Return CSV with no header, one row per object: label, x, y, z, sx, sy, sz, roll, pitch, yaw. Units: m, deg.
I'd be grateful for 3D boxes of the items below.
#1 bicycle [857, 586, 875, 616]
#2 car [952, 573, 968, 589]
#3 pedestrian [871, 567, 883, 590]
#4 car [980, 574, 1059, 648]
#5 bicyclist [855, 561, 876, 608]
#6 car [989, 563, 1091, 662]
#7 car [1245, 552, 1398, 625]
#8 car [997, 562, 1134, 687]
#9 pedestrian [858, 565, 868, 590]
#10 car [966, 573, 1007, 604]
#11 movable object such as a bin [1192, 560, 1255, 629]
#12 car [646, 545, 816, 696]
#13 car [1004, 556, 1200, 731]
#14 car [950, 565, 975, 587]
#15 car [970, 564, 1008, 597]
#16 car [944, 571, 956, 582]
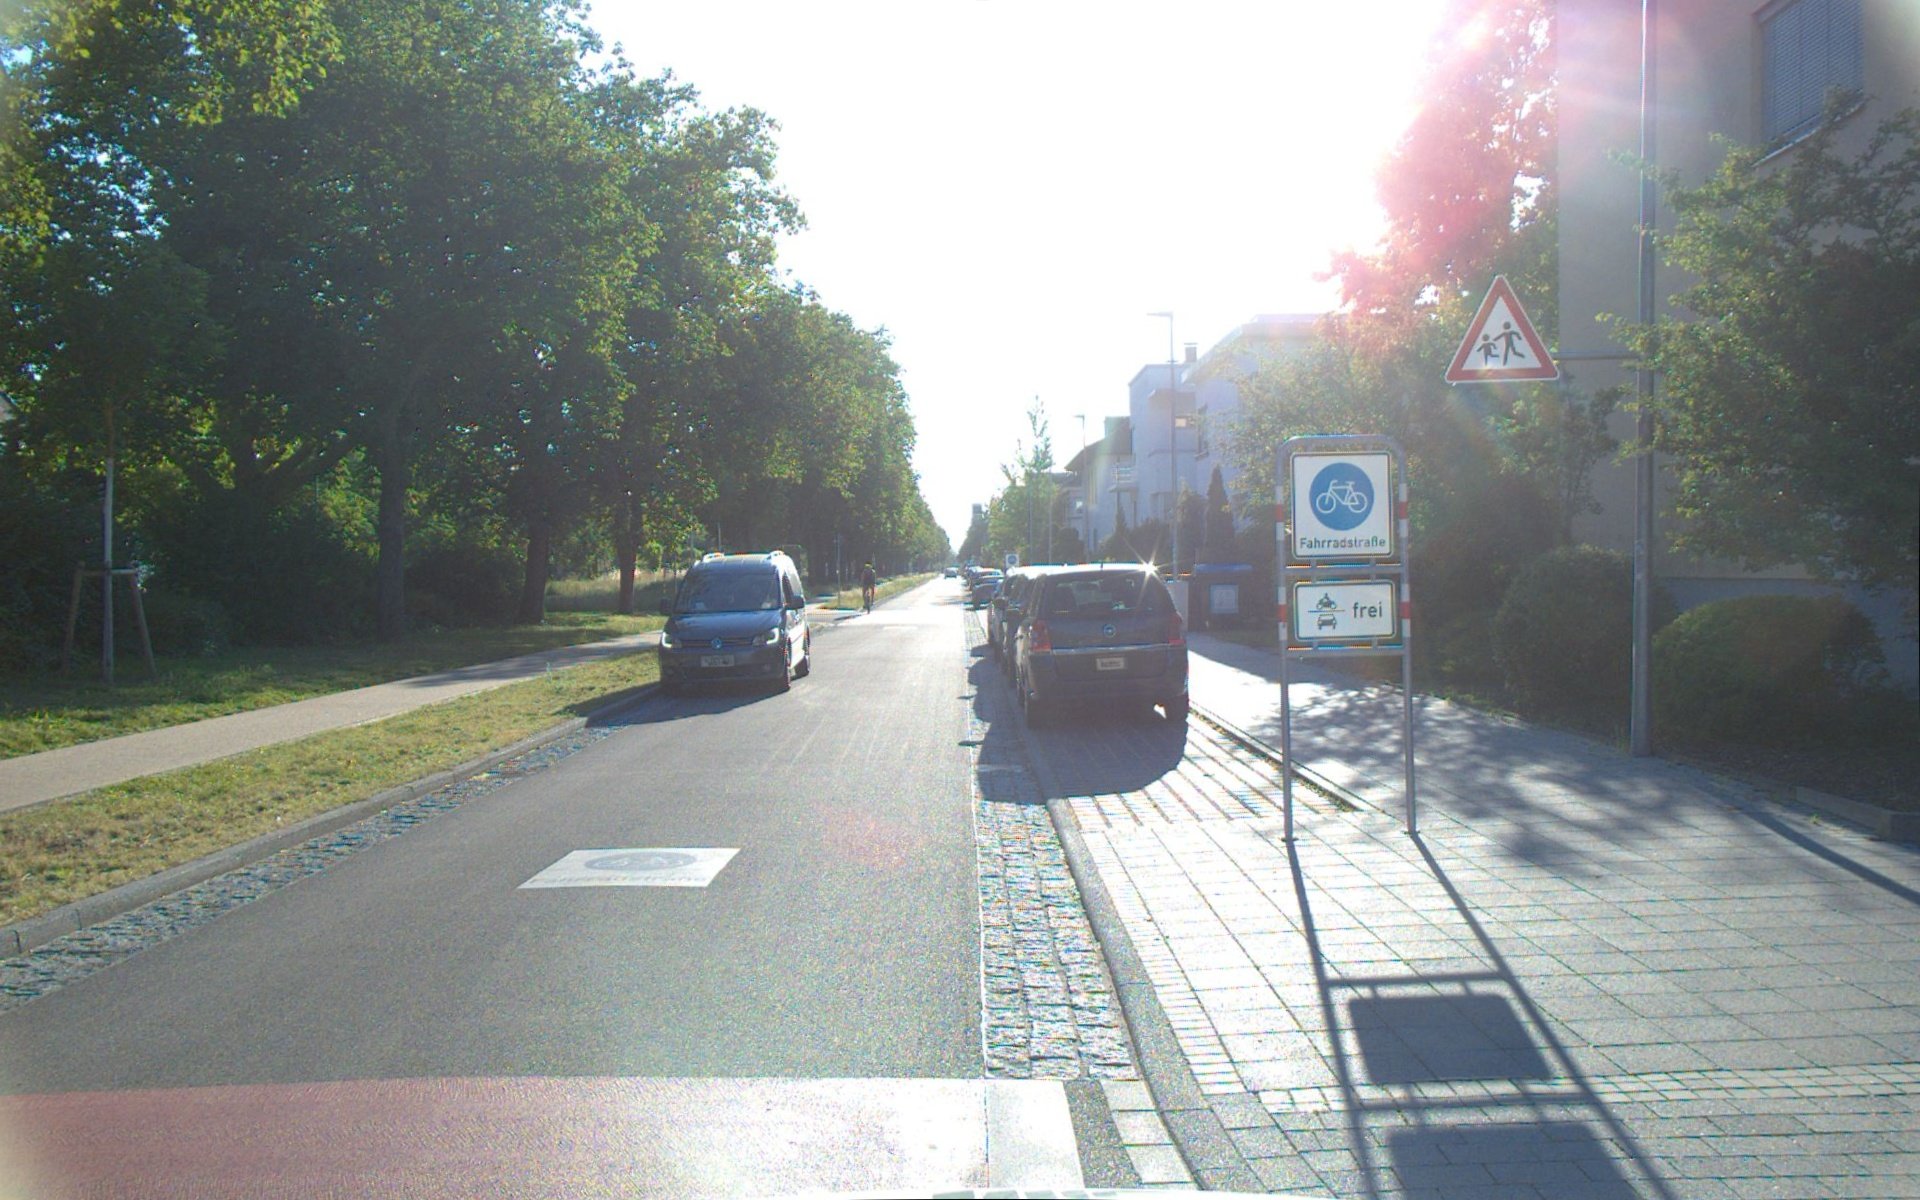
bicycle,-3.443,0.033,60.736,0.545,1.050,1.915,-1,0,0
car,0.012,-1.993,170.318,1.467,1.594,3.267,-1,1,1
pedestrian,-6.147,-1.587,122.183,0.766,1.642,0.952,0,1,3
car,1.235,0.191,35.683,1.531,1.414,4.375,-2,1,0
bicyclist,-3.483,-0.554,60.767,0.667,1.702,1.172,-2,0,0
car,1.375,0.170,29.669,1.644,1.582,4.131,-2,1,1
car,8.560,-0.277,39.367,3.418,1.670,1.644,0,1,8
car,1.444,0.287,23.992,1.644,1.582,4.144,-2,1,0
pedestrian,-7.184,-1.657,122.626,0.611,1.863,0.886,0,1,3
car,1.126,-0.517,72.058,1.738,1.311,4.273,0,1,0
movable object such as a bin,5.736,-0.125,36.055,1.211,1.457,1.123,0,1,2
car,-3.155,0.243,23.687,1.806,1.879,4.572,-2,1,-1
car,1.459,0.386,18.412,1.675,1.638,4.168,-3,1,-1
car,0.174,-1.699,119.257,1.701,1.474,4.196,-2,0,-1
car,1.452,-1.011,83.204,1.709,1.499,3.922,-4,1,-1
car,-1.418,-3.455,238.772,1.618,1.568,3.267,0,1,0
